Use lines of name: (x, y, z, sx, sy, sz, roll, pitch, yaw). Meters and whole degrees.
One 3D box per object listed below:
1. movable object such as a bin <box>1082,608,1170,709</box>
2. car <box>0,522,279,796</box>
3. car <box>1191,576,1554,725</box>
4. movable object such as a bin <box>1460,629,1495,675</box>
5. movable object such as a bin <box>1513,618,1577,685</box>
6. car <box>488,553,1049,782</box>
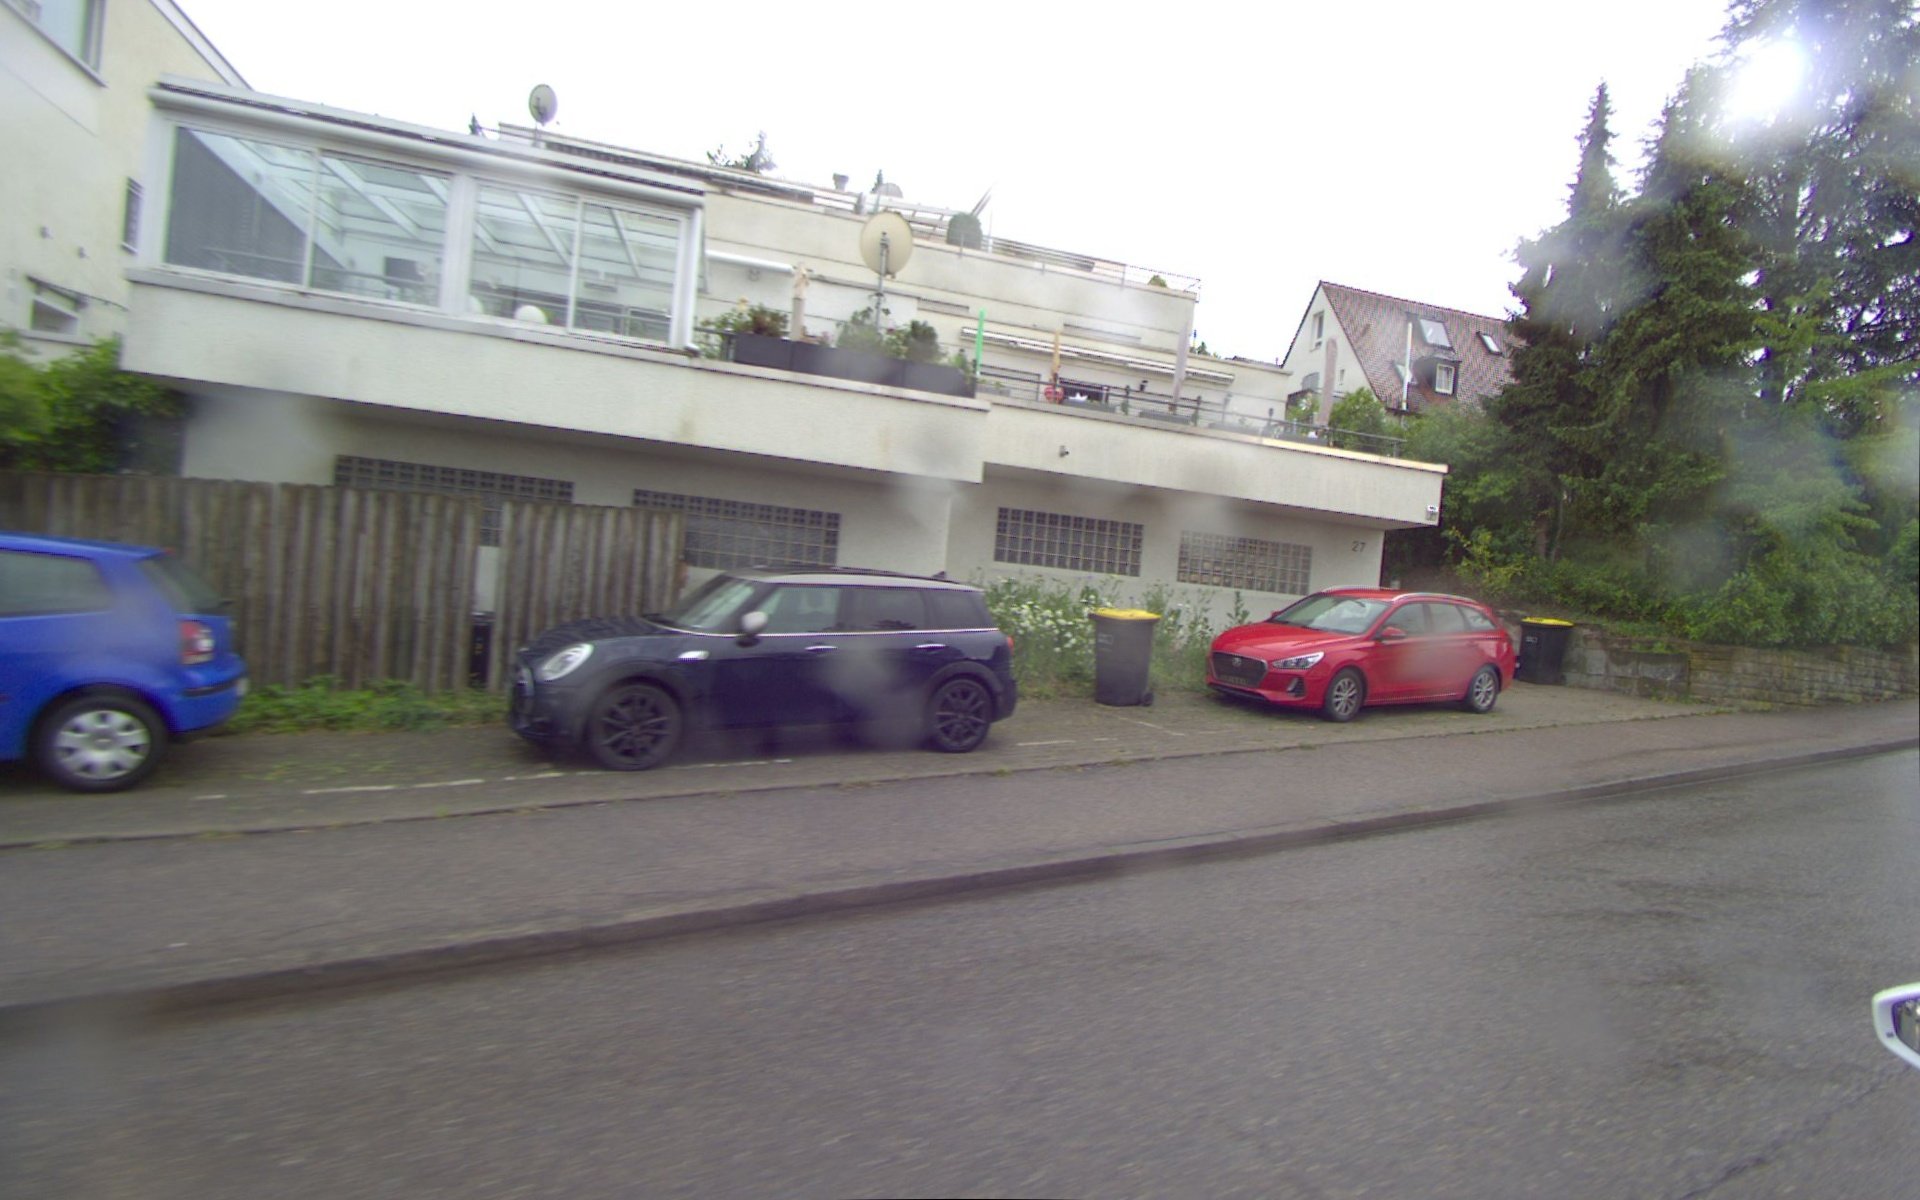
movable object such as a bin: (1.907, 0.656, 11.577, 0.741, 1.098, 0.638, 2, 1, -25)
car: (-6.306, 0.273, 5.728, 3.914, 1.453, 1.598, 1, 4, -32)
car: (5.263, 0.579, 12.661, 4.535, 1.456, 1.765, 2, 5, -31)
movable object such as a bin: (9.163, 0.913, 17.790, 0.362, 0.778, 0.388, 2, 2, -19)
movable object such as a bin: (9.800, 0.855, 16.838, 0.672, 1.070, 0.577, 2, 2, -19)
car: (-1.480, 0.458, 8.250, 4.190, 1.415, 1.624, 2, 4, -31)
